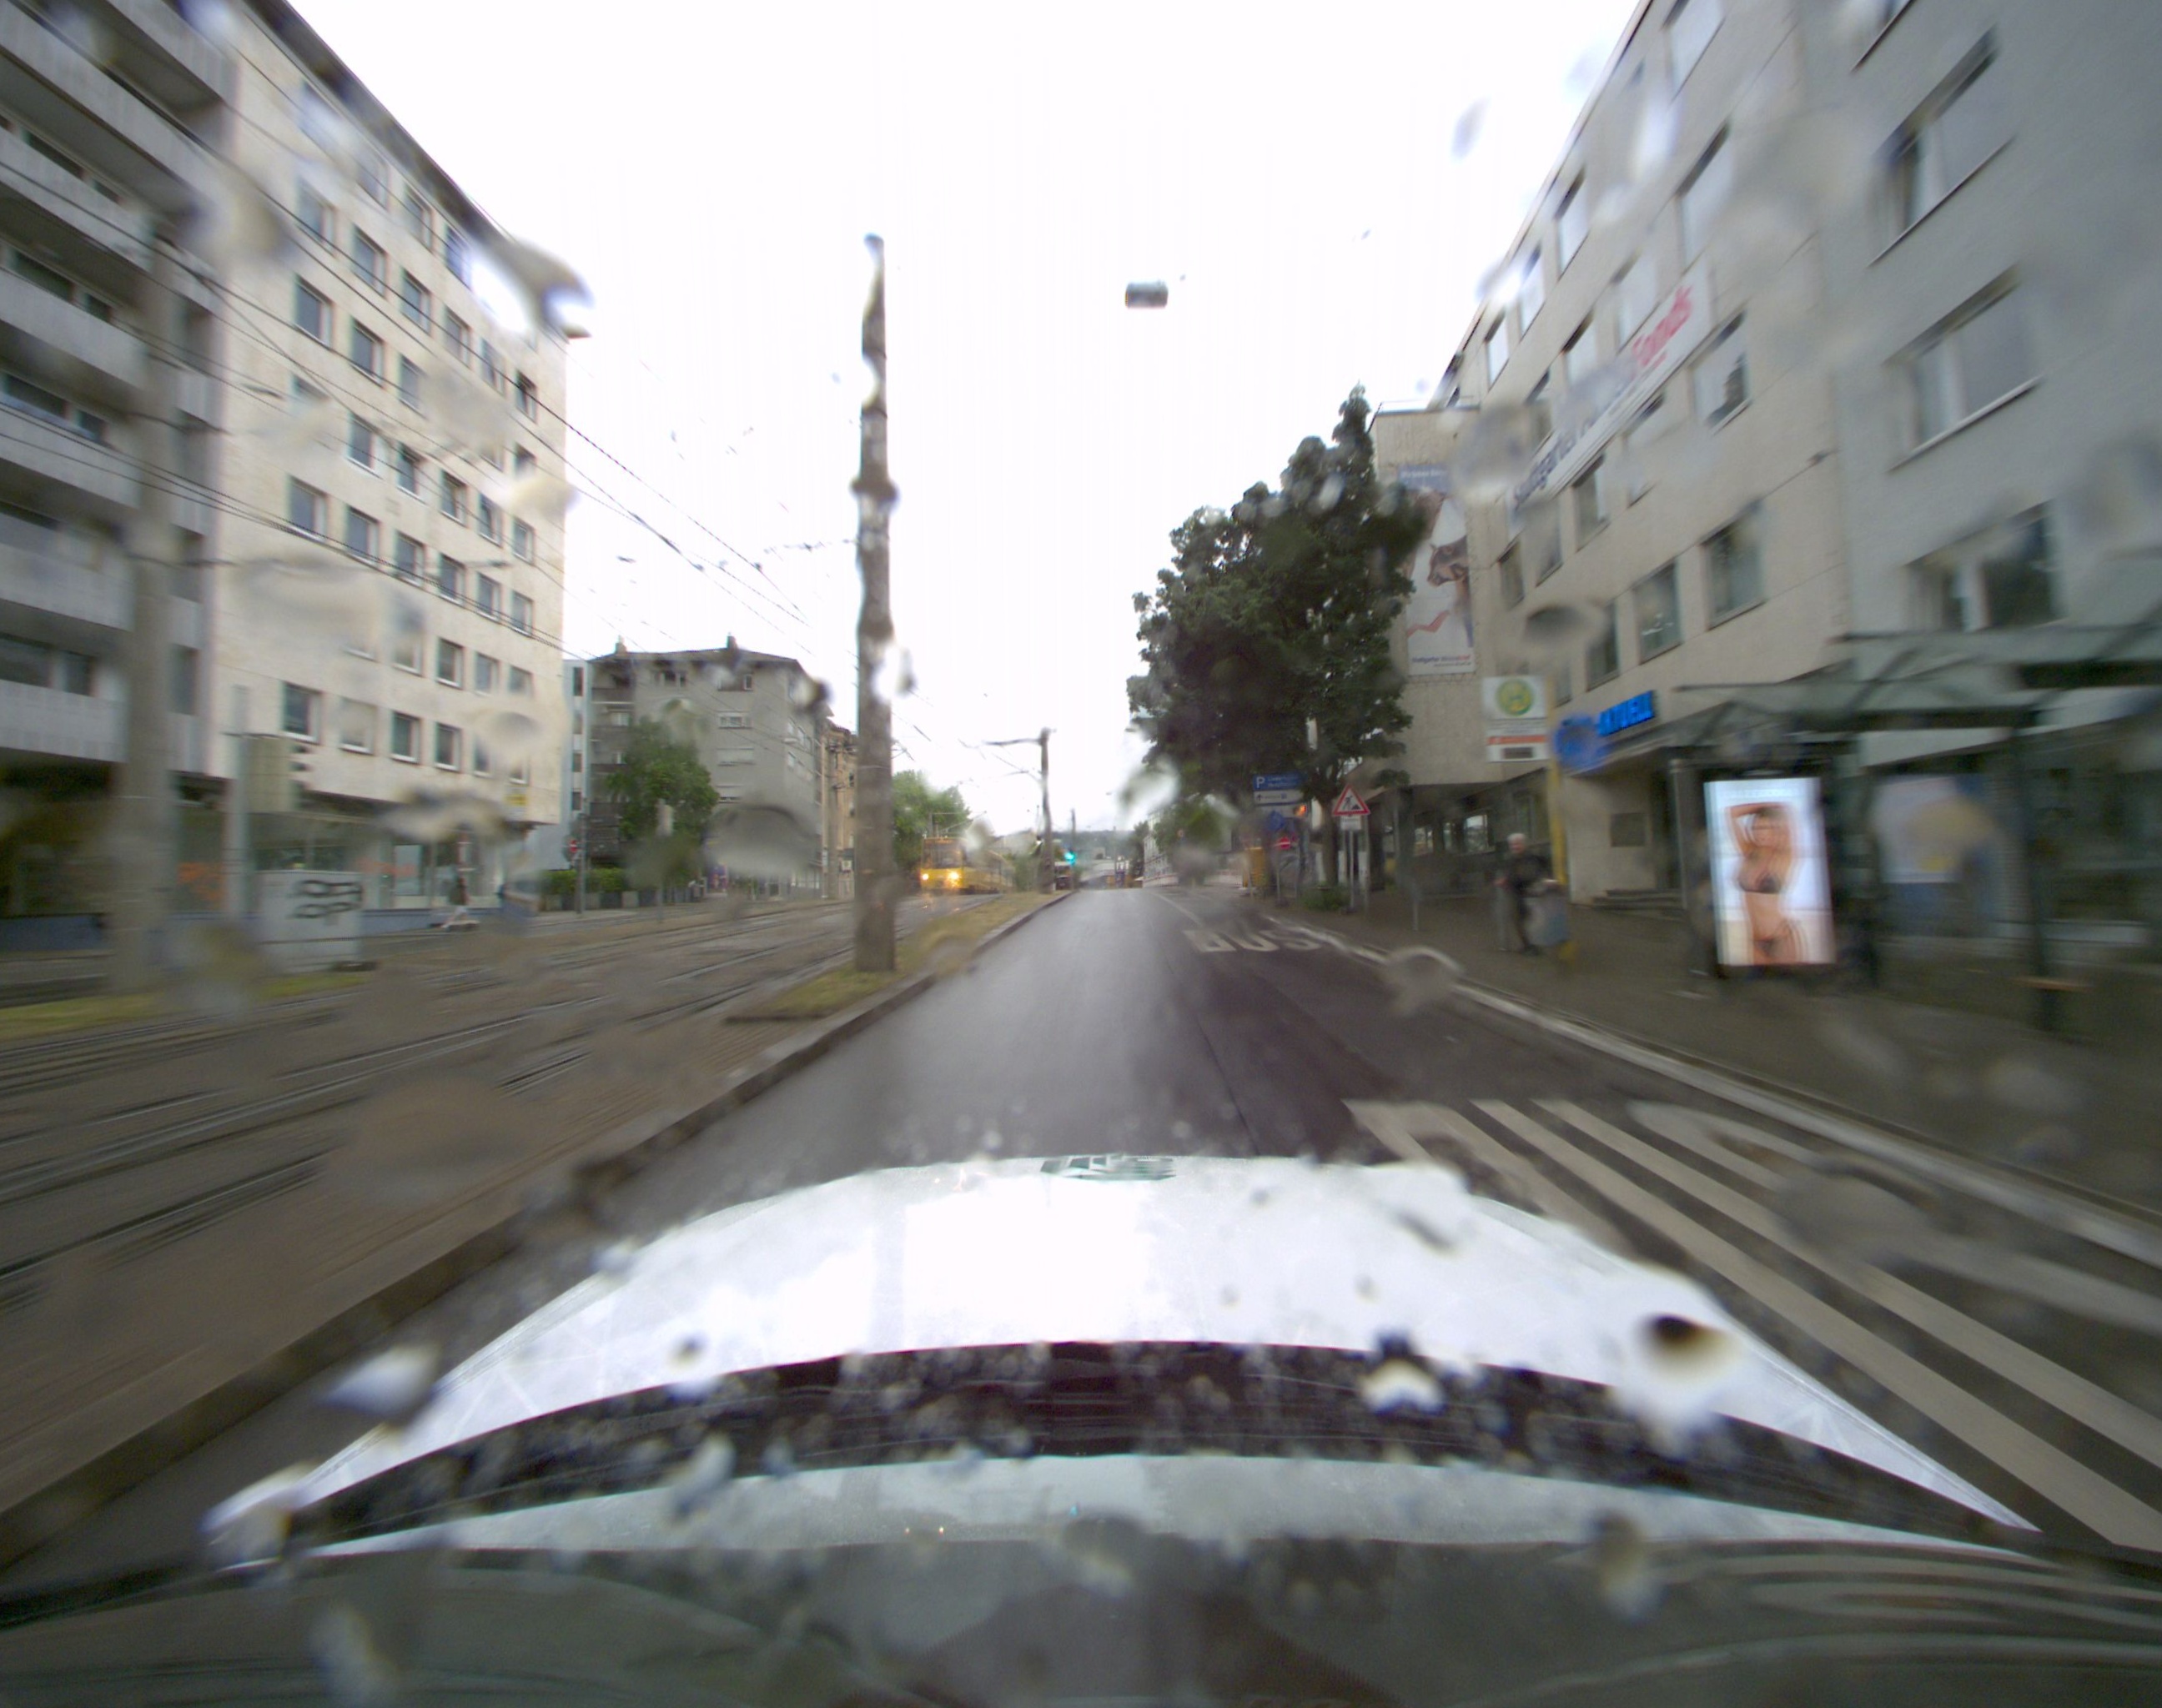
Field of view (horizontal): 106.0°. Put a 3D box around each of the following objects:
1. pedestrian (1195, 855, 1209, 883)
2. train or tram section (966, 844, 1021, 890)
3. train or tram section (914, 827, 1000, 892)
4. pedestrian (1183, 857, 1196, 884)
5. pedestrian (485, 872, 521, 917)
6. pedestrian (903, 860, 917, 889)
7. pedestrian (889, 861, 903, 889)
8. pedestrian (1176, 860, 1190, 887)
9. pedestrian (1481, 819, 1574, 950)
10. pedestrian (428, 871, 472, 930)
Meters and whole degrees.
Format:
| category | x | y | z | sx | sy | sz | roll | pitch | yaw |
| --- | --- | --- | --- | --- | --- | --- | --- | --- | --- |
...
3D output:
| category | x | y | z | sx | sy | sz | roll | pitch | yaw |
| --- | --- | --- | --- | --- | --- | --- | --- | --- | --- |
| pedestrian | 8.021 | 0.996 | 54.006 | 0.698 | 1.785 | 1.066 | -1 | -1 | -1 |
| train or tram section | -7.818 | 1.409 | 75.421 | 2.737 | 3.697 | 18.967 | -1 | -2 | 1 |
| train or tram section | -8.100 | 0.669 | 56.420 | 2.737 | 3.697 | 18.967 | -1 | -2 | 1 |
| pedestrian | 7.271 | 1.105 | 54.567 | 0.698 | 1.815 | 0.976 | -1 | -1 | -1 |
| pedestrian | -20.493 | 1.423 | 28.870 | 0.675 | 1.548 | 0.776 | -2 | -1 | 1 |
| pedestrian | -11.132 | 1.329 | 53.016 | 0.730 | 1.790 | 0.696 | -2 | -1 | 1 |
| pedestrian | -12.067 | 1.361 | 53.101 | 0.730 | 1.790 | 0.696 | -2 | -1 | 1 |
| pedestrian | 6.702 | 1.263 | 53.441 | 0.734 | 1.730 | 1.118 | -1 | -1 | -1 |
| pedestrian | 5.870 | 0.391 | 10.762 | 0.662 | 1.626 | 0.968 | -1 | -1 | 2 |
| pedestrian | -19.371 | 1.410 | 25.015 | 0.594 | 1.738 | 0.910 | -2 | -1 | 1 |
